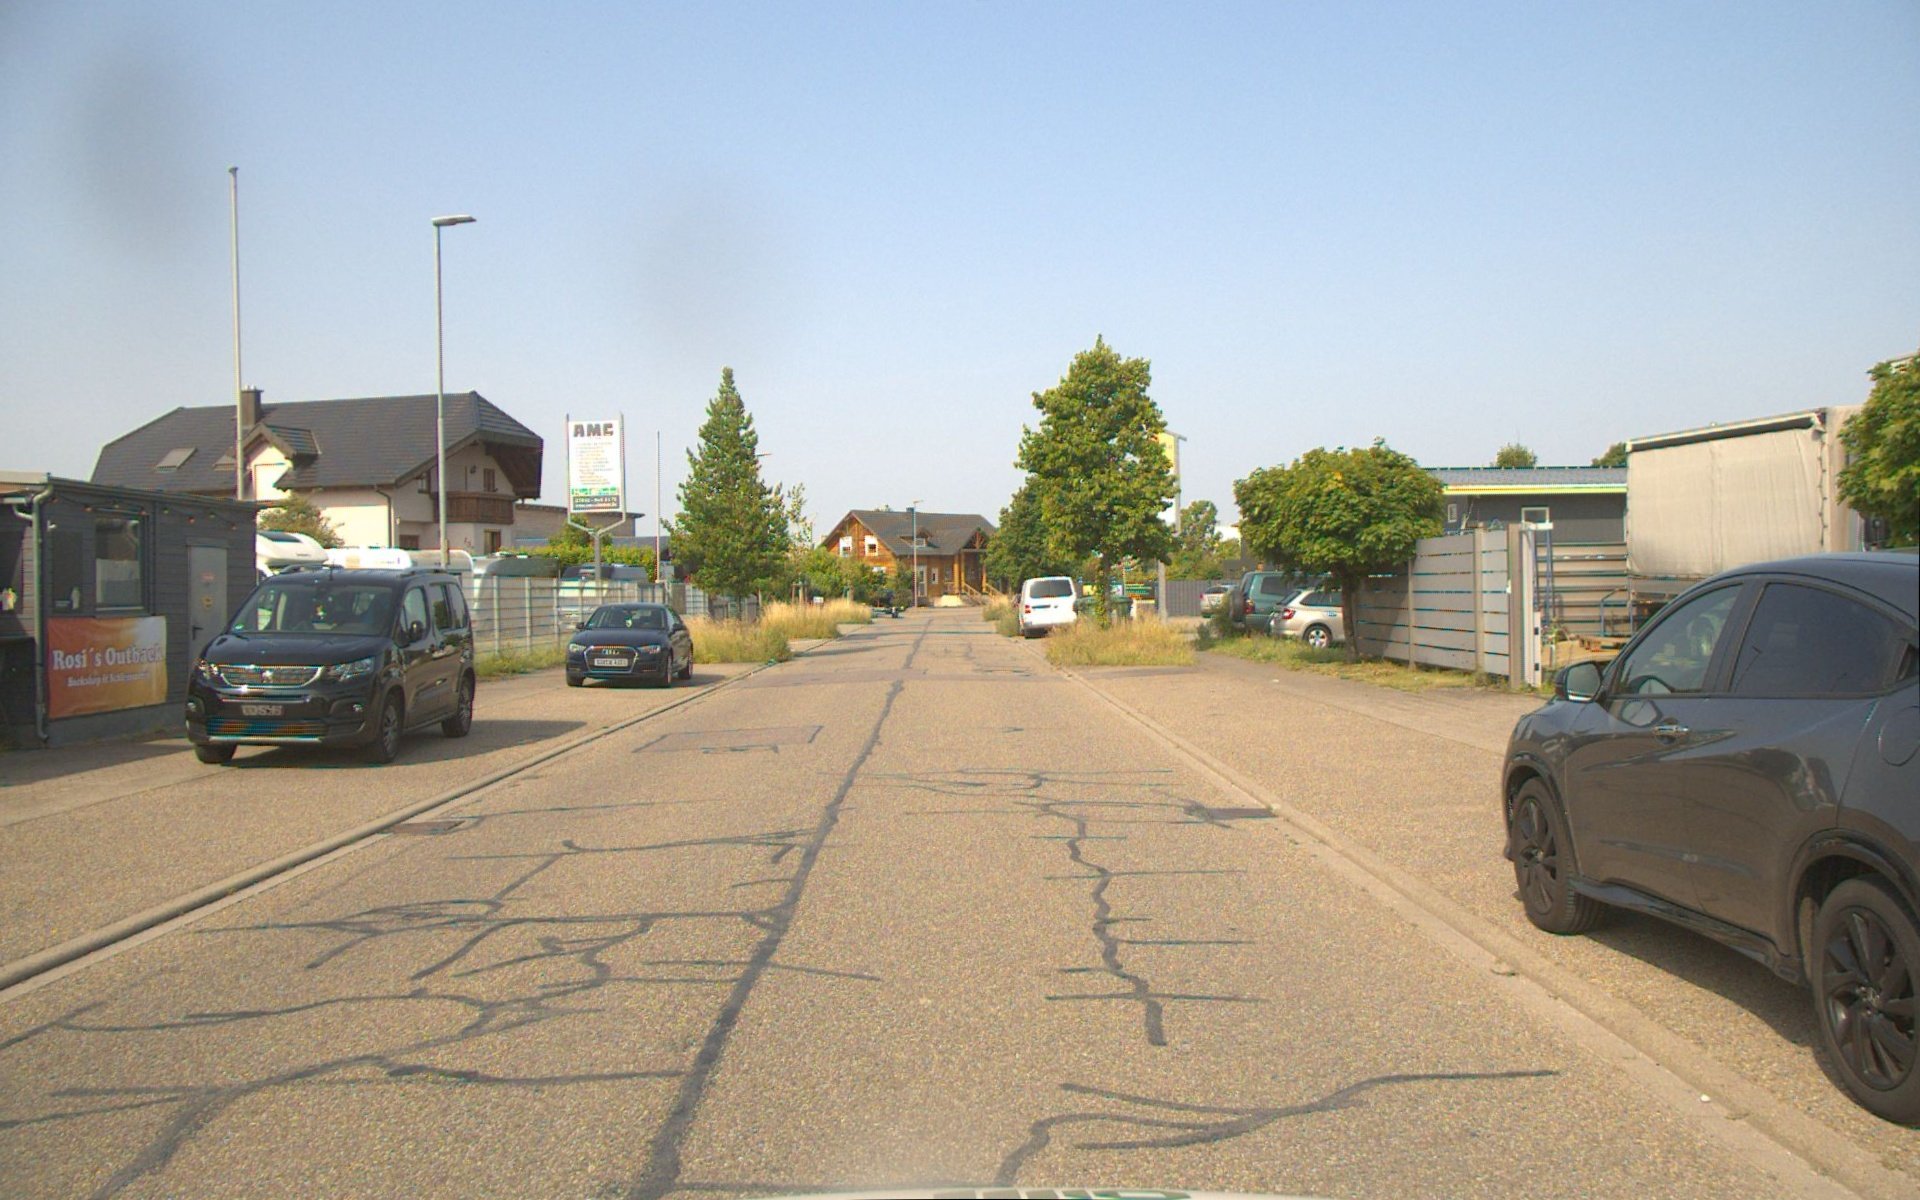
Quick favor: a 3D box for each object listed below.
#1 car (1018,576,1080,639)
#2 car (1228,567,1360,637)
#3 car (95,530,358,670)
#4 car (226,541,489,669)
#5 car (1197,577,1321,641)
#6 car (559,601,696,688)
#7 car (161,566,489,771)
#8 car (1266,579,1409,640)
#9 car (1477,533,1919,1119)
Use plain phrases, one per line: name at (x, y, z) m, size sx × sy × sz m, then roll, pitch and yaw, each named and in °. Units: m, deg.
car at (2.957, 0.233, 55.691) m, size 1.800 × 1.957 × 3.756 m, roll -2°, pitch 0°, yaw 0°
car at (8.222, 0.046, 40.867) m, size 3.076 × 1.607 × 1.393 m, roll -2°, pitch 0°, yaw 8°
car at (-15.045, 0.015, 33.961) m, size 4.703 × 2.631 × 2.146 m, roll -2°, pitch 0°, yaw 20°
car at (-13.575, 0.118, 37.352) m, size 5.050 × 2.631 × 2.577 m, roll -2°, pitch 0°, yaw 20°
car at (7.756, 0.220, 43.145) m, size 3.076 × 1.548 × 1.393 m, roll -2°, pitch 0°, yaw 8°
car at (-5.826, 0.747, 29.393) m, size 1.763 × 1.411 × 3.637 m, roll 1°, pitch 0°, yaw -1°
car at (-6.231, 0.596, 16.773) m, size 1.763 × 1.805 × 4.201 m, roll 1°, pitch 0°, yaw -1°
car at (8.743, 0.220, 38.479) m, size 3.076 × 1.288 × 1.393 m, roll -2°, pitch 0°, yaw 8°
car at (3.419, 0.576, 5.907) m, size 1.758 × 1.588 × 3.999 m, roll -2°, pitch 0°, yaw -2°
